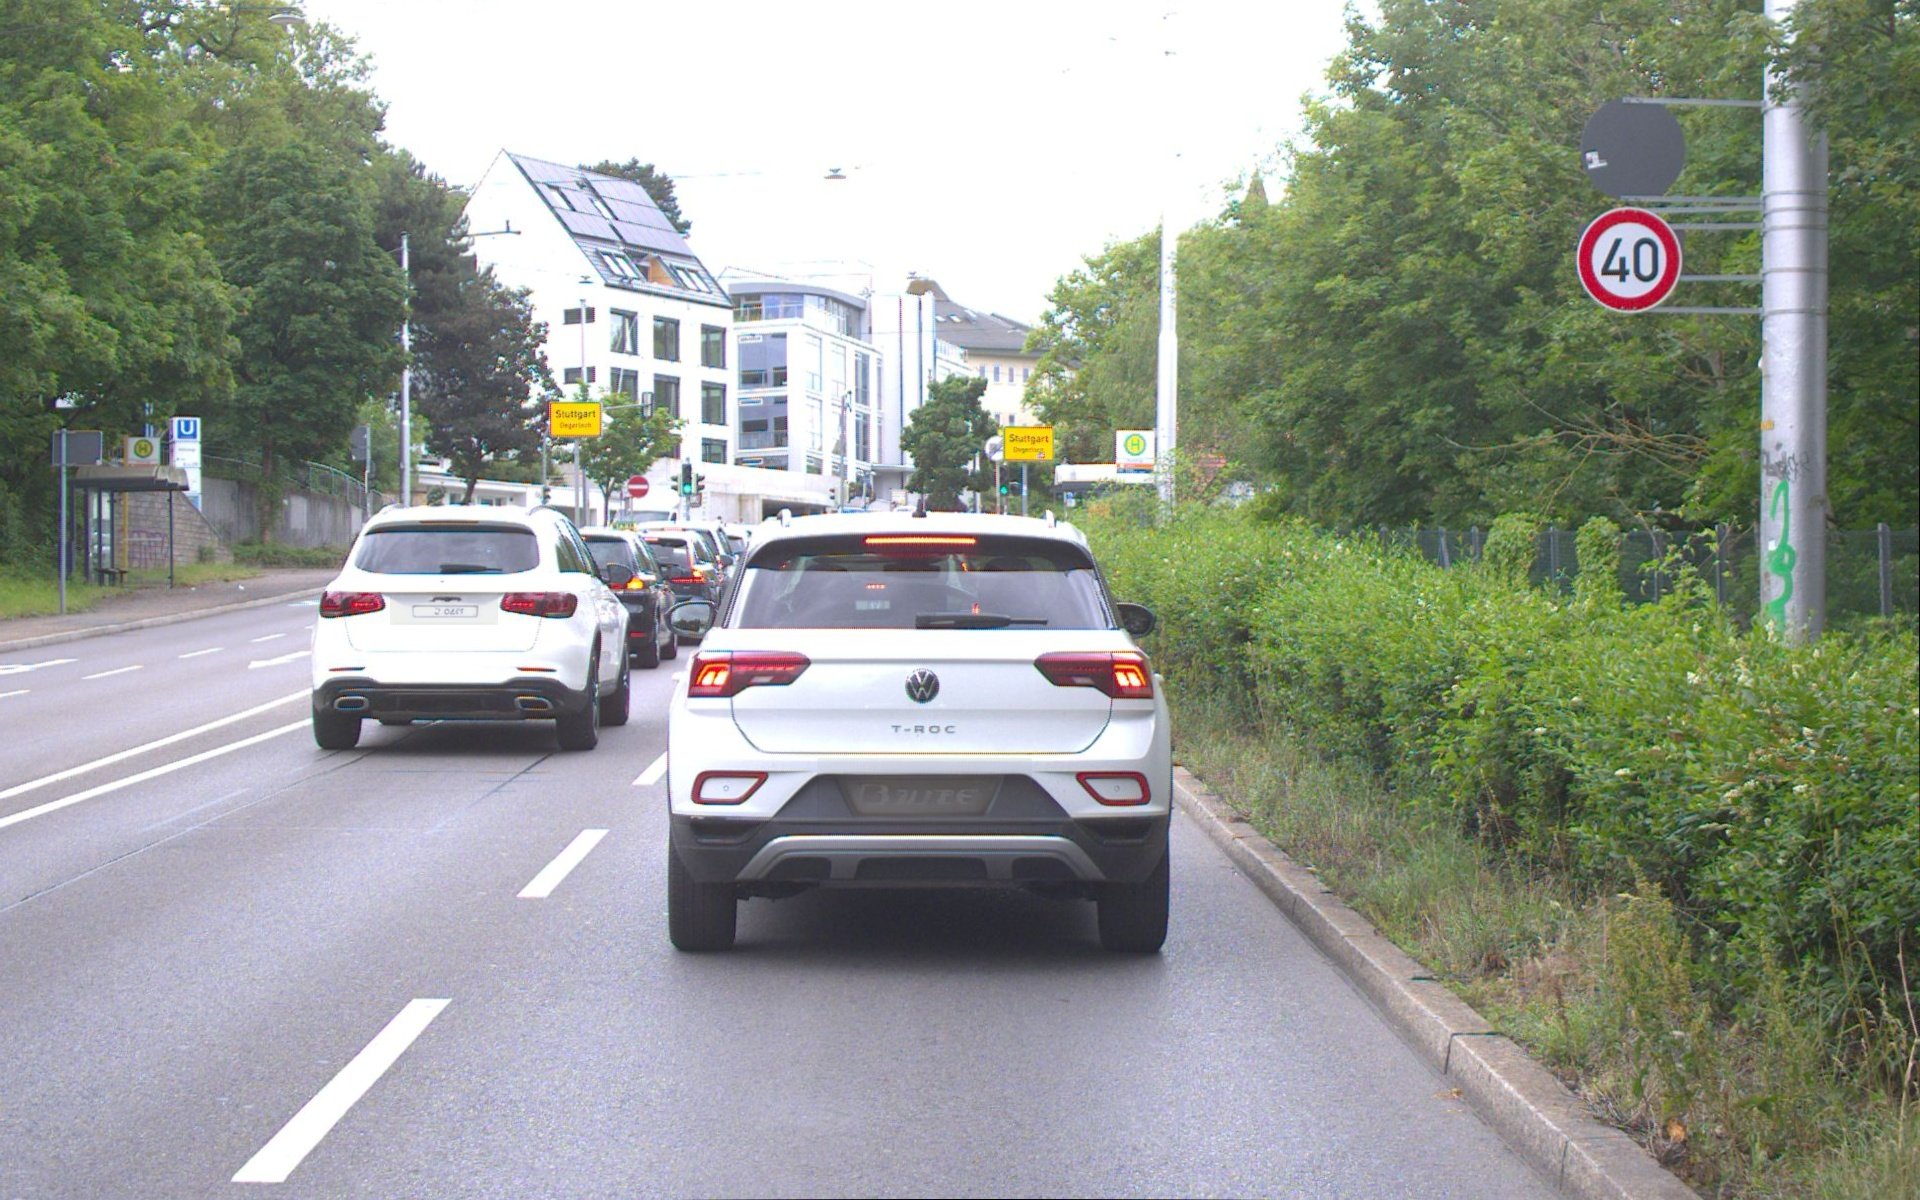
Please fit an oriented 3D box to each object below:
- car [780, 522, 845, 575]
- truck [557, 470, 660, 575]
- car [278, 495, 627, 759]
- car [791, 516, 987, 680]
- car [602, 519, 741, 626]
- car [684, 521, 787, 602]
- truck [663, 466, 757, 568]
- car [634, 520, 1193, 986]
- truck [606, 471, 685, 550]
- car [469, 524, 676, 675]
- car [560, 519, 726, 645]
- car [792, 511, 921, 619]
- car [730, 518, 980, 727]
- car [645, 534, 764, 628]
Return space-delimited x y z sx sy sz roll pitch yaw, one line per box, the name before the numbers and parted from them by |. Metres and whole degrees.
car | -4.315 -1.530 101.059 1.829 1.520 4.000 -1 1 -1
truck | -9.536 -2.114 93.588 2.362 2.697 4.478 -2 1 -1
car | -3.425 0.128 23.883 1.918 1.664 4.000 0 1 -1
car | -0.719 -0.061 34.539 1.829 1.520 4.000 -1 1 -1
car | -4.293 -0.440 51.672 1.829 1.520 4.000 -1 1 -1
car | -4.381 -0.779 67.500 1.829 1.520 4.000 -1 1 -1
truck | -7.102 -2.366 98.134 2.362 2.772 4.478 -2 1 -1
car | -0.198 0.458 13.289 1.829 1.520 4.000 0 1 -1
truck | -12.564 -3.561 137.954 2.293 3.040 6.979 -1 1 1
car | -4.081 -0.053 36.721 1.829 1.492 4.000 -1 1 -1
car | -4.034 -0.268 44.284 1.829 1.520 4.000 -1 1 -1
car | -1.533 -0.545 51.528 1.829 1.520 4.000 -1 1 -1
car | -0.827 0.121 27.564 1.829 1.520 4.000 -1 1 -1
car | -4.374 -0.350 59.368 1.829 1.520 4.000 -1 1 -1
